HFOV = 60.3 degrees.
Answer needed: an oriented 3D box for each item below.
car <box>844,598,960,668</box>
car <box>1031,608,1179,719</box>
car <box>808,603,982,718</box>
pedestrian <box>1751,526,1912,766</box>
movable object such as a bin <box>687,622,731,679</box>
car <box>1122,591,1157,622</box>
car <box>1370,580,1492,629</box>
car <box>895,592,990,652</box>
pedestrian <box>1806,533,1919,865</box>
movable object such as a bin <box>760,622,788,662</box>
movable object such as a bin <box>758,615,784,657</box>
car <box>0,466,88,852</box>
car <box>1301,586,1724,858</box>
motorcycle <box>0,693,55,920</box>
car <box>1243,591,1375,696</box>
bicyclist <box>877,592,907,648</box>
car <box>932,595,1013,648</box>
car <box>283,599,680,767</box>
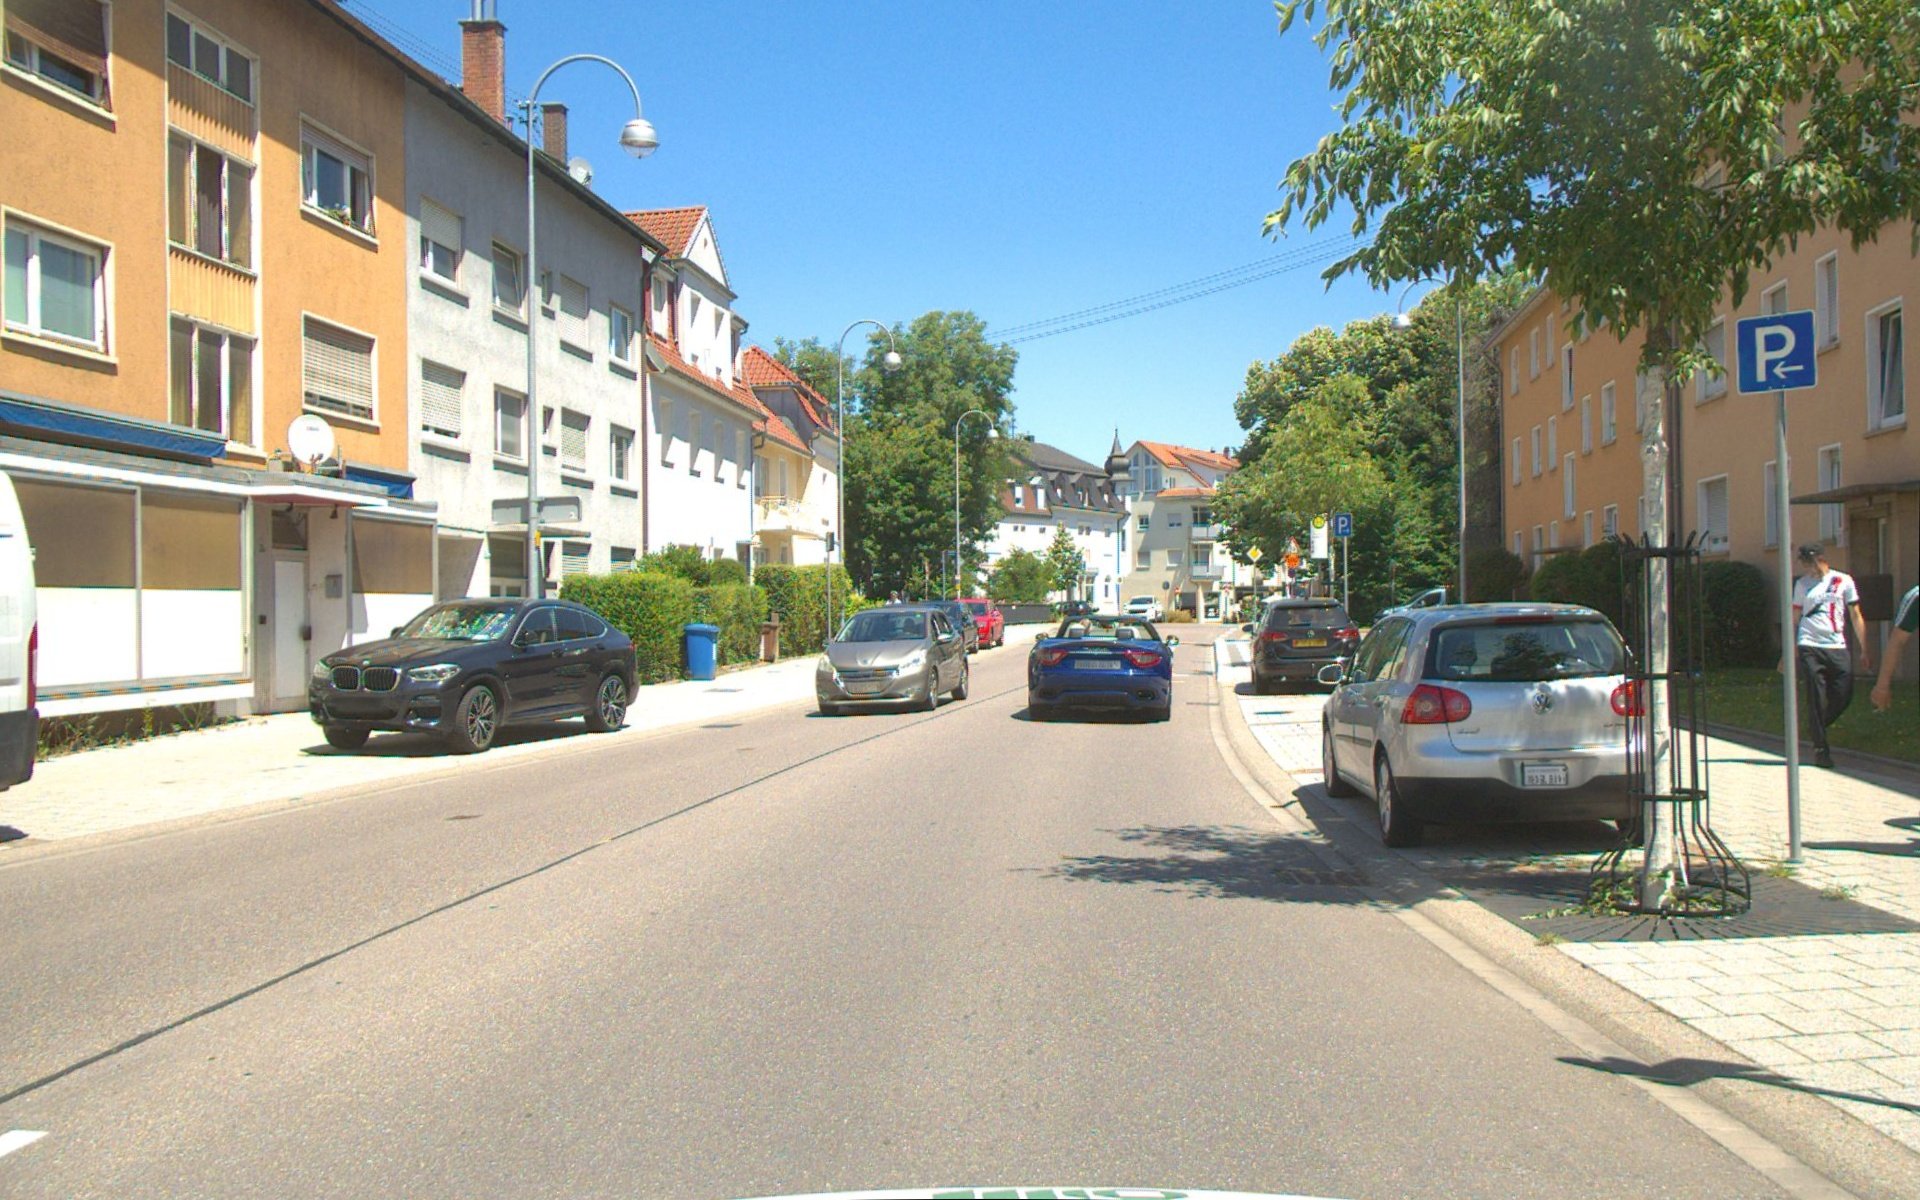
[{"bbox_3d":[-1.318,0.738,39.408,1.749,1.484,4.201,2,1,12],"label":"car"},{"bbox_3d":[2.059,0.793,22.842,1.831,1.366,4.599,0,0,6],"label":"car"},{"bbox_3d":[-0.876,0.835,24.576,1.694,1.436,4.004,-3,0,10],"label":"car"},{"bbox_3d":[7.145,0.369,13.607,0.803,1.886,0.985,-1,-1,5],"label":"pedestrian"},{"bbox_3d":[-4.883,0.974,32.188,0.658,1.066,0.653,-2,0,8],"label":"movable object such as a bin"},{"bbox_3d":[10.183,0.363,93.542,1.838,1.624,4.363,-2,0,7],"label":"car"},{"bbox_3d":[18.302,0.178,64.337,4.248,1.871,1.750,0,-1,0],"label":"car"},{"bbox_3d":[-0.419,0.567,45.850,1.823,1.487,5.312,1,1,8],"label":"car"},{"bbox_3d":[5.662,0.501,9.284,1.146,1.763,1.192,-4,-1,4],"label":"pedestrian"},{"bbox_3d":[-4.408,0.992,39.243,0.483,0.927,0.706,-1,0,9],"label":"movable object such as a bin"},{"bbox_3d":[-4.661,0.896,40.830,0.457,1.007,0.614,-1,0,9],"label":"movable object such as a bin"},{"bbox_3d":[-7.675,0.373,8.638,2.074,2.492,6.123,1,0,12],"label":"car"},{"bbox_3d":[3.634,0.735,11.769,1.775,1.502,4.509,-2,-1,5],"label":"car"},{"bbox_3d":[-4.781,0.958,7.049,0.593,1.018,1.801,-1,0,11],"label":"motorcycle"},{"bbox_3d":[5.834,0.670,28.126,1.794,1.530,5.068,-3,0,8],"label":"car"},{"bbox_3d":[-2.082,0.602,50.865,0.765,1.688,0.836,-1,0,7],"label":"bicyclist"},{"bbox_3d":[0.442,0.646,51.714,1.837,1.505,4.742,2,1,9],"label":"car"},{"bbox_3d":[-5.406,0.843,19.570,2.041,1.643,5.111,0,1,18],"label":"car"}]
